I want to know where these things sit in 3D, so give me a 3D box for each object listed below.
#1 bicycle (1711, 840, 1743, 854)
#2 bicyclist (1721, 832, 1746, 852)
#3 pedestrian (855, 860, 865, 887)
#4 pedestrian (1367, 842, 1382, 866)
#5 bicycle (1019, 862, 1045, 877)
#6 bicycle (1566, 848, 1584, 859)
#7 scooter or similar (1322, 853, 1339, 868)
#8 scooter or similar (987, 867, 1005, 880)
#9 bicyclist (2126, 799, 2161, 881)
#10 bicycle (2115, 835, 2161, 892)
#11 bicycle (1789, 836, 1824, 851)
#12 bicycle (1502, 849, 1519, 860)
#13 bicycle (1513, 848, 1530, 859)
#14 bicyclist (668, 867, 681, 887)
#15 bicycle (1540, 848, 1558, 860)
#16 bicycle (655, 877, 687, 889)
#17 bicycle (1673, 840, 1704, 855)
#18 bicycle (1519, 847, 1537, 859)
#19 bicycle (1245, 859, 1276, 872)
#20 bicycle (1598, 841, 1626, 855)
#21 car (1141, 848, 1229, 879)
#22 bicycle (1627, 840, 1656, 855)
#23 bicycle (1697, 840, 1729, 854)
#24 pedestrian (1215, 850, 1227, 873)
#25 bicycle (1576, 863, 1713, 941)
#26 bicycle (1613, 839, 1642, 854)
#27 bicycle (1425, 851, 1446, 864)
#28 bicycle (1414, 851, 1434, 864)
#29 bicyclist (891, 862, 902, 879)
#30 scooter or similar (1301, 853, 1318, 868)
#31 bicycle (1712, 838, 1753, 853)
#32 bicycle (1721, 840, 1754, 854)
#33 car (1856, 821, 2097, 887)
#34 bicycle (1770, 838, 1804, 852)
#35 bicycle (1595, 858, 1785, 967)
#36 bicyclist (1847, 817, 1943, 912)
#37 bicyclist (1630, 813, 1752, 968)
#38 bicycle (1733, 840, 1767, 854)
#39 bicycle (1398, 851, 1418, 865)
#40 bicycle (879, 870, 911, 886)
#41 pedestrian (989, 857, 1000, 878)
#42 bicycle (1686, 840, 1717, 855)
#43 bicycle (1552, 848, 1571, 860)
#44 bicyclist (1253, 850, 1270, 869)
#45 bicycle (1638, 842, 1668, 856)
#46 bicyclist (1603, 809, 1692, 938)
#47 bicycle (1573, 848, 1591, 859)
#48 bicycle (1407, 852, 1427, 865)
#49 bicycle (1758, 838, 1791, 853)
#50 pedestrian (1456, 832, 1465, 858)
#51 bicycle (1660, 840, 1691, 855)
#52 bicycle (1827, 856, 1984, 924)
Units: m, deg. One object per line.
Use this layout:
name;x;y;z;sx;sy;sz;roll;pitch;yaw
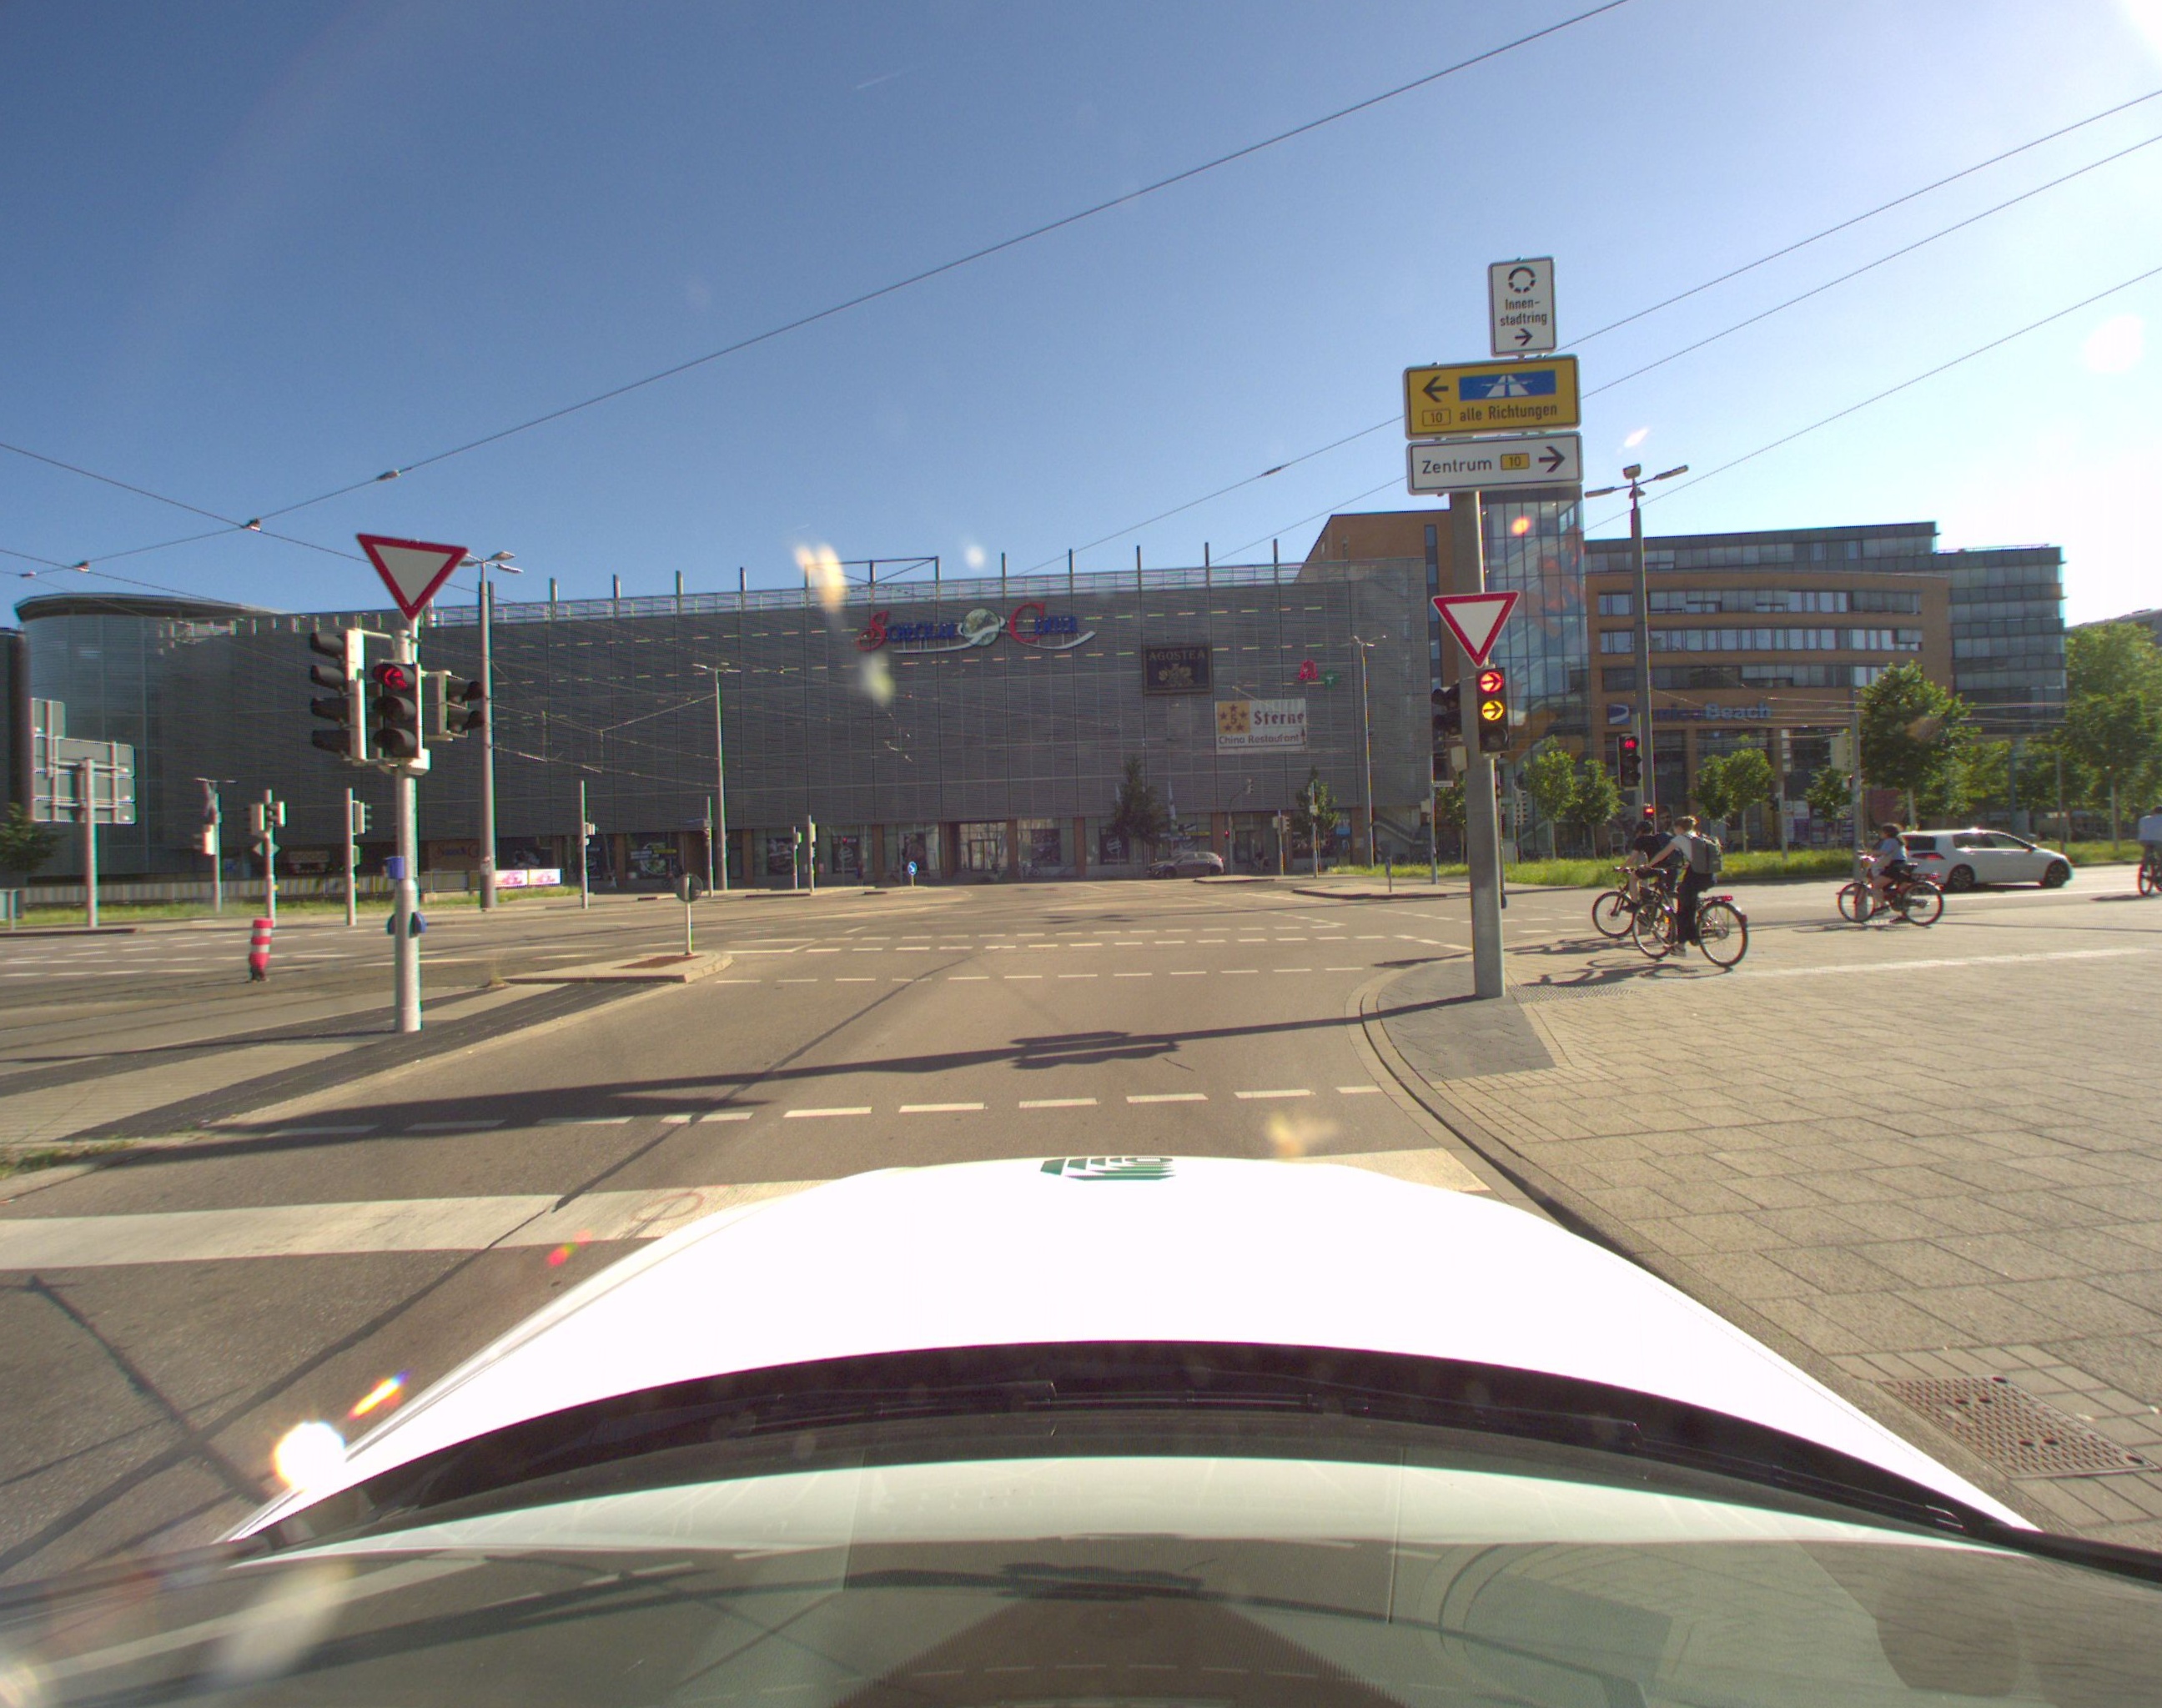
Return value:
bicycle;51.331;-0.555;64.715;0.749;1.123;2.178;-2;1;-3
bicyclist;49.069;-0.888;61.267;1.303;1.407;0.594;-2;-1;3
pedestrian;-15.062;1.328;55.516;0.625;1.751;0.585;-2;-1;-17
pedestrian;21.101;0.023;58.554;0.776;1.685;0.595;-2;-1;-12
bicycle;-3.667;1.138;60.833;1.940;1.038;0.572;-2;-1;-3
bicycle;37.707;-0.015;62.149;0.443;0.819;1.449;-2;1;-3
scooter or similar;18.874;0.493;61.586;1.196;1.103;0.277;0;-1;4
scooter or similar;-5.898;1.352;56.620;1.219;0.851;0.301;-2;-1;-1
bicyclist;22.386;-0.309;16.958;1.023;1.669;0.614;-2;1;-29
bicycle;22.382;0.175;16.942;2.705;1.069;0.682;-2;1;-30
bicycle;58.114;-0.828;65.234;0.749;1.123;2.178;-2;1;-3
bicycle;32.653;0.018;61.929;0.443;0.819;1.449;-2;1;-3
bicycle;33.621;-0.055;62.183;0.443;0.819;1.449;-2;1;-3
bicyclist;-29.975;1.679;60.042;0.652;1.410;0.560;-2;-1;0
bicycle;35.496;-0.003;61.815;0.443;0.819;1.449;-2;1;-3
bicycle;-30.241;2.103;60.043;2.008;0.811;0.560;-2;-1;0
bicycle;48.396;-0.532;64.904;0.749;1.123;2.178;-2;1;-3
bicycle;34.153;-0.080;62.217;0.443;0.819;1.449;-2;1;-3
bicycle;12.841;0.832;58.315;2.034;0.867;0.682;-2;-1;1
bicycle;42.515;-0.487;65.235;0.749;1.123;2.178;-2;1;-3
car;5.632;0.503;44.313;4.306;1.499;1.988;-2;0;-17
bicycle;44.700;-0.512;64.951;0.749;1.123;2.178;-2;1;-3
bicycle;50.348;-0.546;64.909;0.749;1.123;2.178;-2;1;-3
pedestrian;9.514;0.503;55.485;0.734;1.487;0.491;-2;-1;11
bicycle;8.316;0.689;12.133;0.603;1.038;1.893;-3;-2;-3
bicycle;43.616;-0.618;65.022;0.749;1.123;2.178;-2;1;-3
bicycle;26.530;0.270;61.030;0.490;0.954;2.178;-2;1;-3
bicycle;25.621;0.263;60.845;0.490;0.954;2.178;-2;1;-3
bicyclist;-12.538;1.112;55.246;0.565;1.139;0.554;-1;-1;-31
scooter or similar;17.228;0.504;61.441;1.196;1.103;0.277;0;-1;4
bicycle;49.040;-0.649;61.290;2.550;1.010;0.598;-2;-1;3
bicycle;52.154;-0.560;64.755;0.749;1.123;2.178;-2;1;-3
car;21.440;-0.030;19.590;4.275;1.403;1.775;-2;2;-7
bicycle;56.306;-0.721;64.989;0.749;1.123;2.178;-2;1;-3
bicycle;6.987;0.647;9.506;0.692;1.105;2.012;-3;-2;2
bicyclist;12.727;0.169;12.757;0.585;1.404;0.827;-3;-2;1
bicyclist;6.986;0.399;9.377;0.591;1.654;1.004;-3;-1;2
bicycle;53.021;-0.568;64.571;0.749;1.123;2.178;-2;1;-3
bicycle;24.378;0.282;60.689;0.490;0.954;2.178;-2;1;-3
bicycle;-12.581;1.601;55.206;2.028;0.985;0.554;-2;-1;-31
pedestrian;-6.388;0.993;60.284;0.644;1.519;0.492;-2;-1;6
bicycle;49.431;-0.539;64.922;0.749;1.123;2.178;-2;1;-3
bicycle;36.376;-0.009;61.672;0.443;0.819;1.449;-2;1;-3
bicyclist;12.925;0.372;58.315;1.032;1.318;0.682;-2;-1;1
bicycle;45.773;-0.418;65.193;0.749;1.123;2.178;-2;1;-3
bicyclist;8.305;0.281;11.975;0.547;1.798;0.905;-3;-2;-3
bicycle;38.250;-0.020;62.172;0.443;0.819;1.449;-2;1;-3
bicycle;25.079;0.311;60.763;0.490;0.954;2.178;-2;1;-3
bicycle;55.365;-0.663;65.048;0.749;1.123;2.178;-2;1;-3
pedestrian;29.025;-0.692;62.321;0.536;1.915;0.375;-1;-1;9
bicycle;47.391;-0.524;64.940;0.749;1.123;2.178;-2;1;-3
bicycle;12.785;0.539;12.708;0.692;0.954;1.708;-3;-2;2
